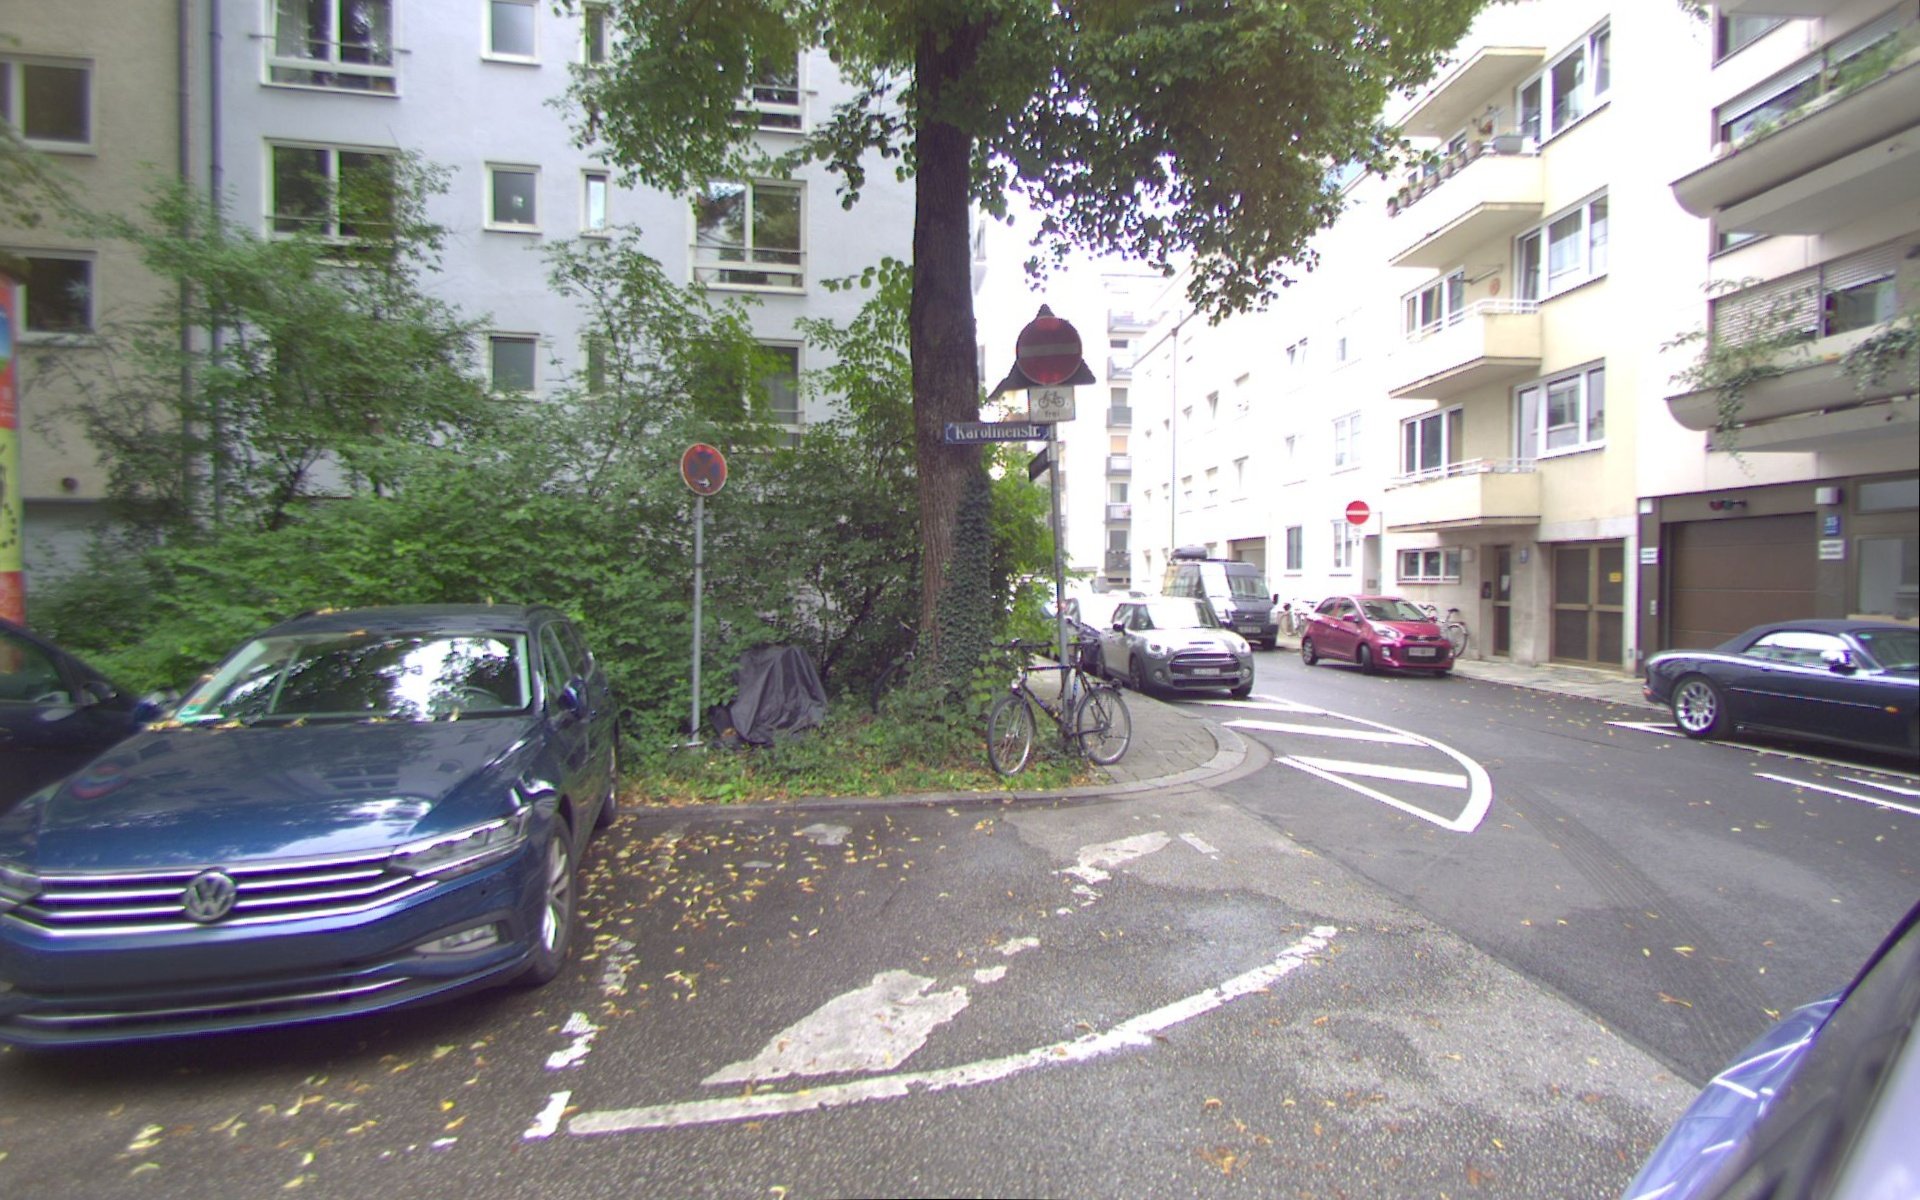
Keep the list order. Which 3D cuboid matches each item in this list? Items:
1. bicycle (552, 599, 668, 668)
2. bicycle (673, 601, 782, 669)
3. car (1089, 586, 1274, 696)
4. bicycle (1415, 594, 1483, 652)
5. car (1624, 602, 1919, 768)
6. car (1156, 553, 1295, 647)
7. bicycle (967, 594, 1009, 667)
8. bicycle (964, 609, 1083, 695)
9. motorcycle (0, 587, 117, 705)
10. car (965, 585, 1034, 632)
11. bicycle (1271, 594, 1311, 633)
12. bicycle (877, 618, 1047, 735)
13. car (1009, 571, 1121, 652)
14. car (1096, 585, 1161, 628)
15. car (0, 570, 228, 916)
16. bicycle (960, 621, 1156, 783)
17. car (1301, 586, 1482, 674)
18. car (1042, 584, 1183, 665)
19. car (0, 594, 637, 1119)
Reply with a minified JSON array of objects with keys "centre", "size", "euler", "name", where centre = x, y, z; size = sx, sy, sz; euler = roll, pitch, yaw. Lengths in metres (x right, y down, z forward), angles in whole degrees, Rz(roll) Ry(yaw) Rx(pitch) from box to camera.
[{"centre":[-5.513,0.515,16.010],"size":[1.666,1.036,0.540],"euler":[-1,0,-11],"name":"bicycle"},{"centre":[-3.735,0.554,16.328],"size":[1.666,1.036,0.540],"euler":[-1,0,-11],"name":"bicycle"},{"centre":[3.250,0.534,15.685],"size":[1.714,1.459,4.004],"euler":[0,1,-4],"name":"car"},{"centre":[10.274,0.458,21.325],"size":[0.459,1.163,1.762],"euler":[-1,1,-4],"name":"bicycle"},{"centre":[8.597,0.730,9.163],"size":[1.766,1.294,4.622],"euler":[2,1,-5],"name":"car"},{"centre":[7.229,-0.064,28.219],"size":[1.984,2.307,5.396],"euler":[2,1,-5],"name":"car"},{"centre":[0.492,0.527,18.583],"size":[0.550,1.235,1.919],"euler":[-1,1,-5],"name":"bicycle"},{"centre":[0.827,0.665,13.553],"size":[1.626,1.069,0.445],"euler":[0,1,38],"name":"bicycle"},{"centre":[-10.250,0.464,11.263],"size":[0.677,1.212,1.811],"euler":[-1,1,-17],"name":"motorcycle"},{"centre":[1.359,0.248,36.291],"size":[1.730,1.448,4.268],"euler":[-3,2,-7],"name":"car"},{"centre":[9.897,0.383,30.324],"size":[0.455,1.111,1.872],"euler":[-1,1,-4],"name":"bicycle"},{"centre":[0.017,0.740,10.254],"size":[1.601,1.069,0.607],"euler":[-1,0,-19],"name":"bicycle"},{"centre":[2.503,0.200,25.247],"size":[1.843,1.813,4.788],"euler":[0,1,-6],"name":"car"},{"centre":[6.368,0.223,38.607],"size":[1.585,1.464,3.746],"euler":[2,1,-4],"name":"car"},{"centre":[-5.213,0.661,4.395],"size":[1.720,1.575,3.992],"euler":[-1,1,-10],"name":"car"},{"centre":[0.845,0.784,8.378],"size":[1.741,1.152,0.554],"euler":[-1,1,-40],"name":"bicycle"},{"centre":[8.167,0.502,19.530],"size":[1.592,1.515,3.714],"euler":[0,1,-6],"name":"car"},{"centre":[2.922,0.419,20.246],"size":[1.802,1.437,4.064],"euler":[0,1,-6],"name":"car"},{"centre":[-2.827,0.706,5.236],"size":[1.919,1.394,4.744],"euler":[-1,1,-14],"name":"car"}]
